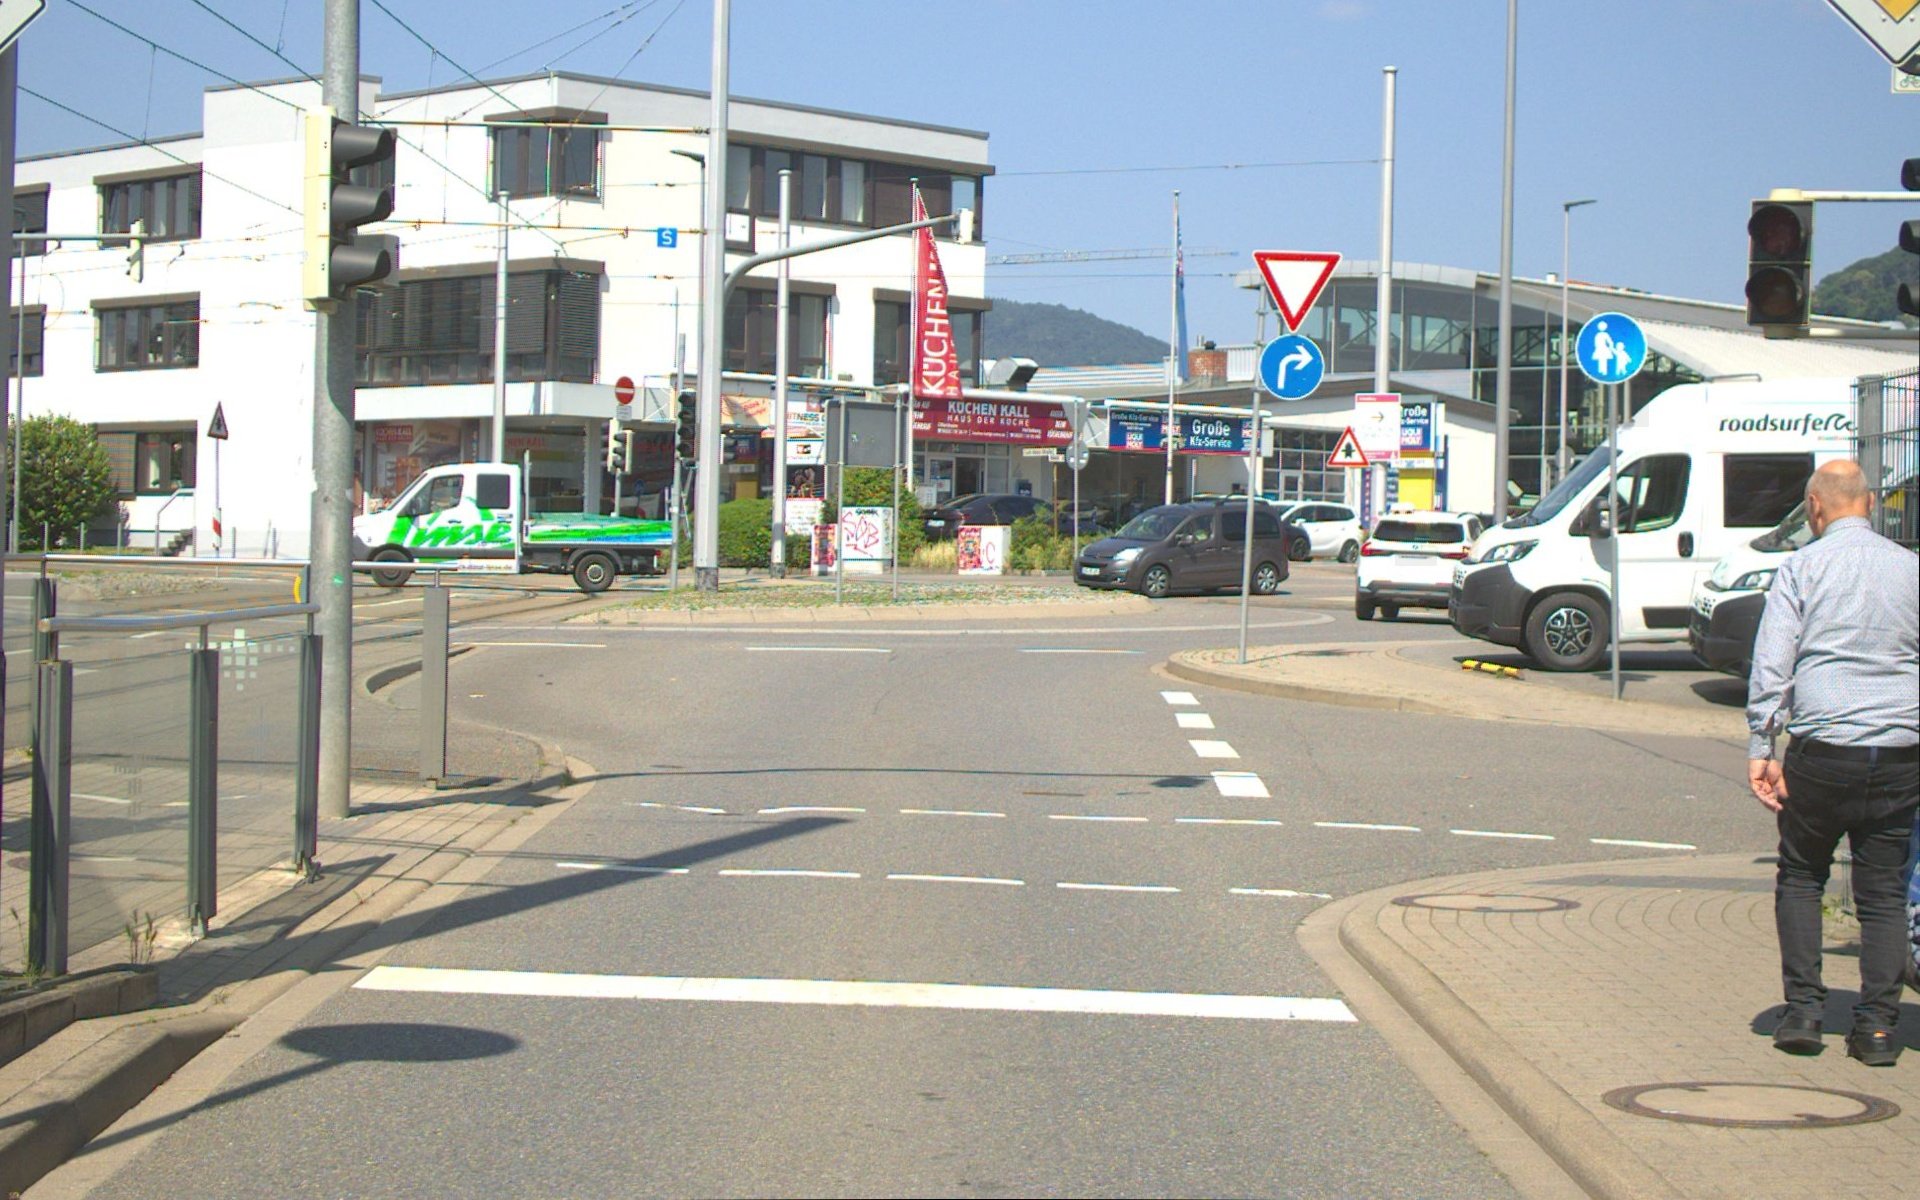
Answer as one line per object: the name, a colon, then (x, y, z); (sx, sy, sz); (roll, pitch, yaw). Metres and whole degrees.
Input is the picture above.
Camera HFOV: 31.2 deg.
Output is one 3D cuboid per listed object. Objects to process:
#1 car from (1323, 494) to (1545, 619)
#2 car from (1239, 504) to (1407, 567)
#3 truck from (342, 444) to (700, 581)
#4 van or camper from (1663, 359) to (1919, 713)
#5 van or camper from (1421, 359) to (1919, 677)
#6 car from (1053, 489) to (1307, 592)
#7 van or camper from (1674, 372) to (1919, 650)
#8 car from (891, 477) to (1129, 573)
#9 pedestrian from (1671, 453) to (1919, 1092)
car: (7.023, -0.630, 50.546); (1.996, 1.727, 4.558); (-1, 0, 24)
car: (9.725, -1.696, 91.893); (1.885, 1.583, 4.915); (0, 0, 43)
truck: (-8.026, -1.606, 63.065); (6.367, 2.329, 2.210); (1, 1, -7)
van or camper: (8.866, -0.502, 28.748); (5.507, 2.804, 2.048); (2, 3, 4)
van or camper: (7.291, -0.757, 31.707); (5.811, 2.764, 2.091); (1, 2, 3)
car: (4.208, -1.135, 65.580); (4.394, 1.812, 1.990); (1, 1, -29)
van or camper: (11.578, -0.957, 37.563); (7.061, 2.936, 2.335); (0, 1, 0)
car: (1.139, -1.634, 75.386); (5.266, 1.959, 1.965); (0, 2, -43)
pedestrian: (2.509, 0.452, 9.591); (0.812, 1.693, 0.887); (1, 1, -2)
